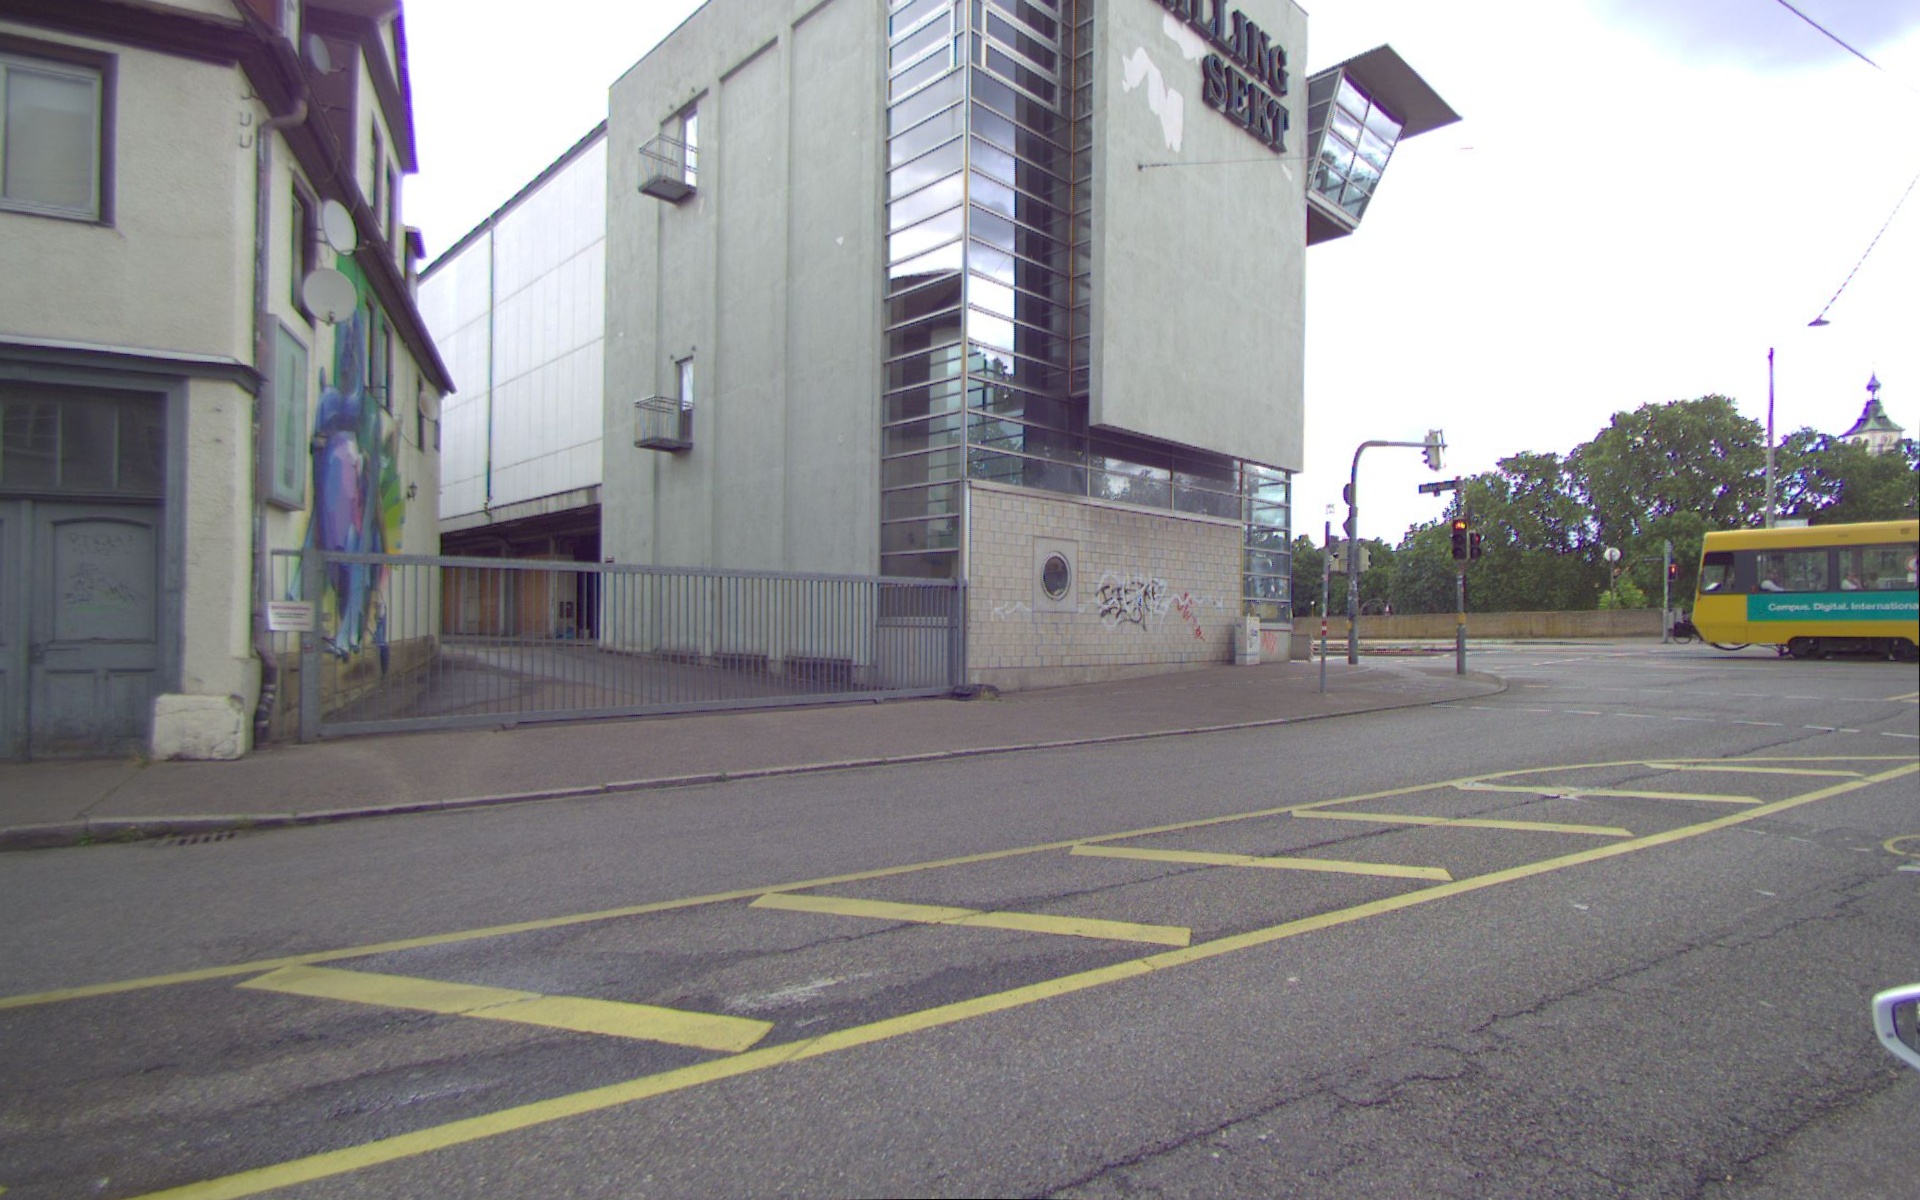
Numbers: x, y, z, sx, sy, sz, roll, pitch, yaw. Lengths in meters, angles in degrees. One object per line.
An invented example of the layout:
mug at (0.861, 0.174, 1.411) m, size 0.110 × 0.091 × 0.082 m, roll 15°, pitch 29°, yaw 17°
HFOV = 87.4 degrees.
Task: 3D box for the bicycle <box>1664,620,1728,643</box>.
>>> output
bicycle at (28.447, 1.223, 38.866) m, size 1.912 × 0.878 × 0.560 m, roll 0°, pitch -1°, yaw 17°

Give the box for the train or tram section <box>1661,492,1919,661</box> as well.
train or tram section at (26.807, -0.727, 21.619) m, size 3.278 × 4.056 × 19.087 m, roll -2°, pitch -1°, yaw -37°
